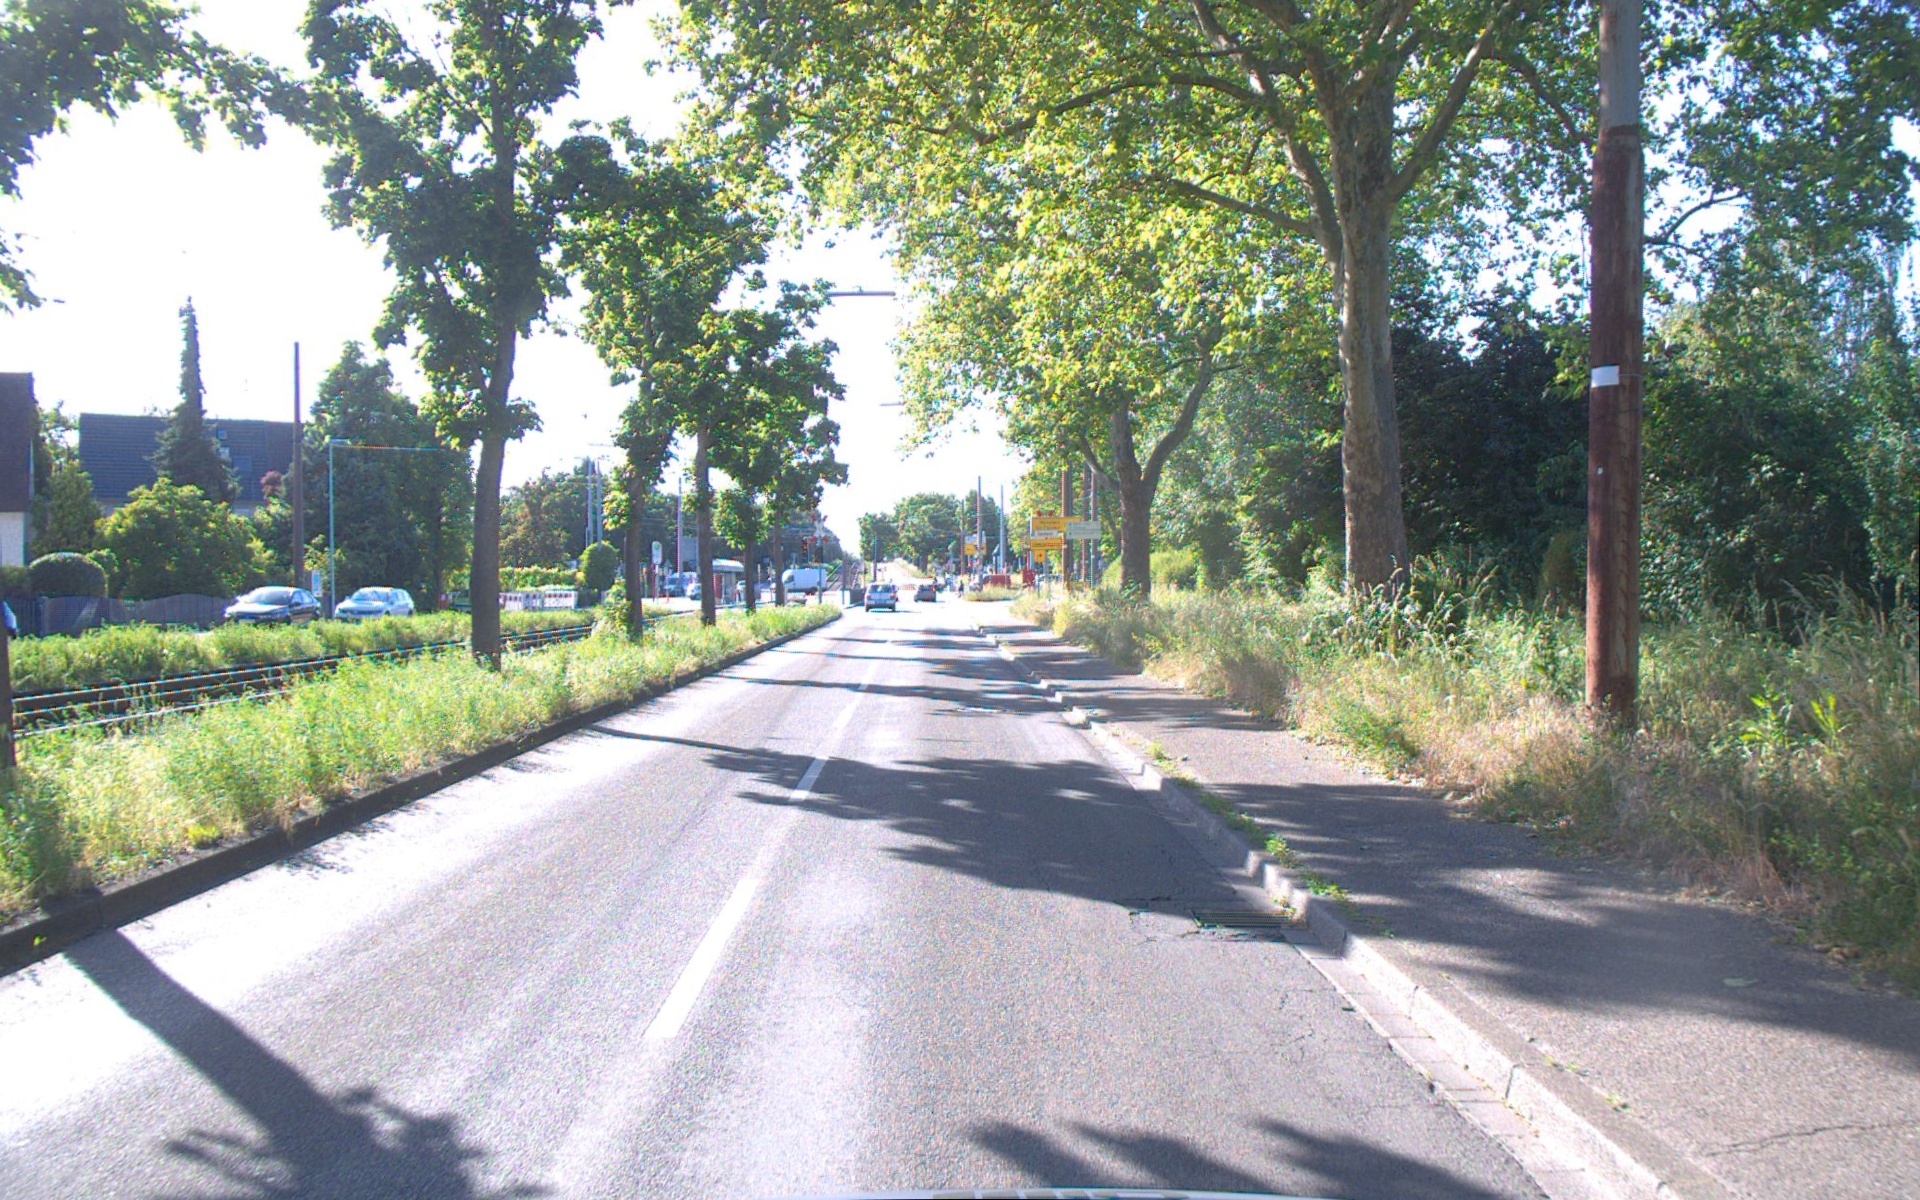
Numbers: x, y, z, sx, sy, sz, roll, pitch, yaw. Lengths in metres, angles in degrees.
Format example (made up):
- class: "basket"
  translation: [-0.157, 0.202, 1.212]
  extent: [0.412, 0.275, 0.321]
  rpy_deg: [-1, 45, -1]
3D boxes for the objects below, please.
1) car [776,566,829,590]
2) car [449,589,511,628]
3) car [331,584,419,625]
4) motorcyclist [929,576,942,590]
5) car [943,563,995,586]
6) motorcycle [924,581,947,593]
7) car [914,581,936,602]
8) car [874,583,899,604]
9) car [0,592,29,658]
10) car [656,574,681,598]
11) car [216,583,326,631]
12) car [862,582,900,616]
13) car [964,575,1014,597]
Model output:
- class: "car"
  translation: [-16.446, -2.315, 172.922]
  extent: [5.181, 2.395, 1.850]
  rpy_deg: [1, 0, -27]
- class: "car"
  translation: [-22.459, 0.388, 77.492]
  extent: [1.742, 1.737, 4.226]
  rpy_deg: [1, 0, -2]
- class: "car"
  translation: [-22.080, 0.157, 62.615]
  extent: [1.822, 1.456, 4.460]
  rpy_deg: [1, 0, -2]
- class: "motorcyclist"
  translation: [-2.655, -1.890, 179.913]
  extent: [1.300, 1.474, 0.723]
  rpy_deg: [1, 0, -27]
- class: "car"
  translation: [0.951, -2.663, 171.837]
  extent: [5.084, 2.315, 1.985]
  rpy_deg: [1, 0, -26]
- class: "motorcycle"
  translation: [-2.668, -1.403, 179.911]
  extent: [2.345, 1.204, 0.723]
  rpy_deg: [1, 0, -28]
- class: "car"
  translation: [-2.824, -0.678, 133.175]
  extent: [1.755, 1.586, 4.226]
  rpy_deg: [1, 0, -2]
- class: "car"
  translation: [-6.120, -0.550, 138.212]
  extent: [1.953, 1.631, 4.472]
  rpy_deg: [1, 0, -2]
- class: "car"
  translation: [-21.435, 0.526, 34.392]
  extent: [1.822, 1.393, 4.226]
  rpy_deg: [1, 0, -2]
- class: "car"
  translation: [-30.512, -1.473, 173.222]
  extent: [2.047, 2.395, 5.256]
  rpy_deg: [1, 0, -5]
- class: "car"
  translation: [-21.914, 0.214, 52.760]
  extent: [1.822, 1.438, 4.157]
  rpy_deg: [1, 0, -2]
- class: "car"
  translation: [-4.036, -0.056, 84.564]
  extent: [1.822, 1.629, 4.226]
  rpy_deg: [1, 0, -2]
- class: "car"
  translation: [3.116, -1.511, 177.044]
  extent: [5.084, 2.315, 1.985]
  rpy_deg: [1, 0, -26]
